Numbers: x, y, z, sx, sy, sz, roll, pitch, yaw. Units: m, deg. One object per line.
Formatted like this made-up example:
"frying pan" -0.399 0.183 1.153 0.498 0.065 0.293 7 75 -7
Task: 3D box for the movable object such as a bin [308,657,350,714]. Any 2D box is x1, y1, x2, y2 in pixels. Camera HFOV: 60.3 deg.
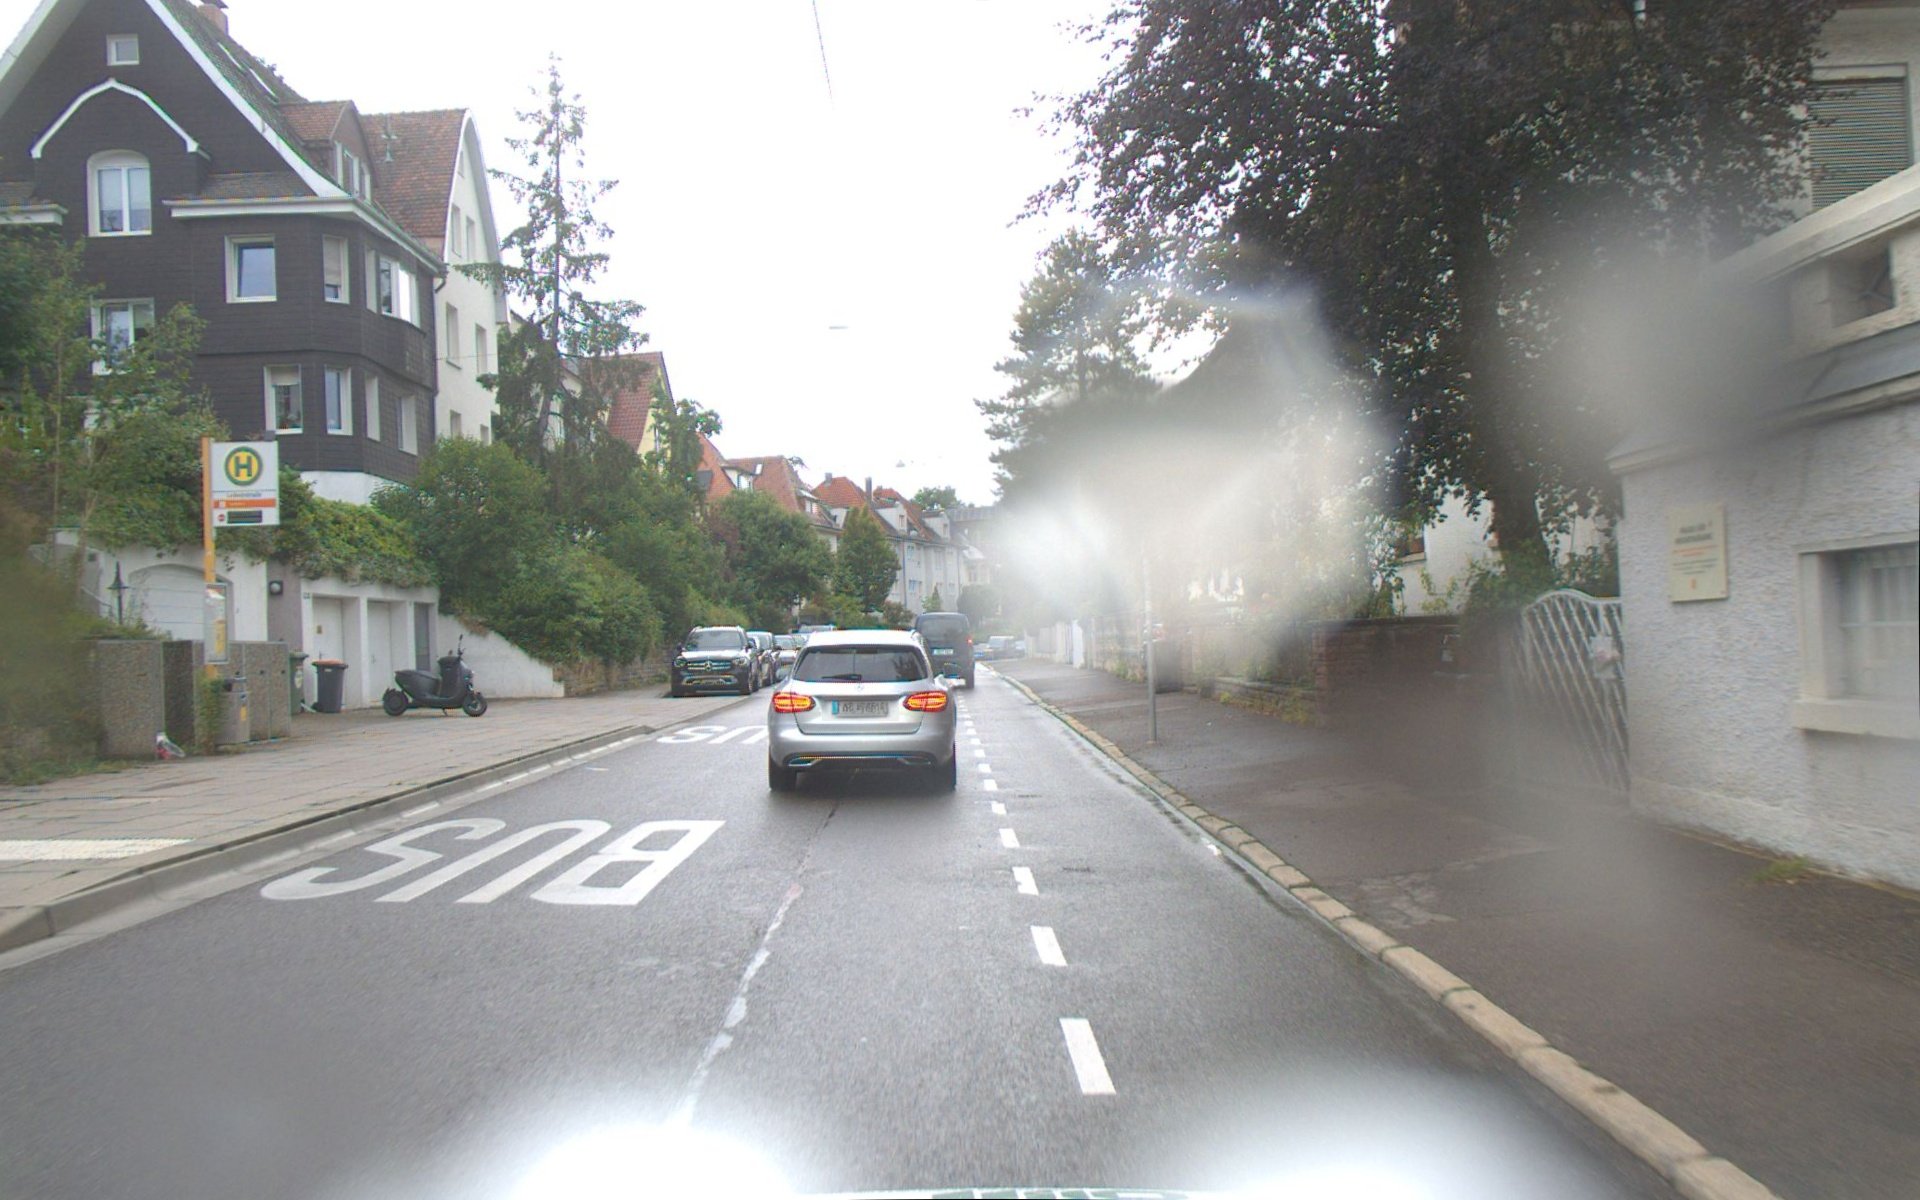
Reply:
"movable object such as a bin" -11.277 1.517 29.551 0.562 0.970 0.512 -1 0 -6

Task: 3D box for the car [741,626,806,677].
"car" -6.162 1.666 54.949 1.720 1.472 4.415 -1 1 -2

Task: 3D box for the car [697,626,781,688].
"car" -6.000 1.530 45.330 1.855 1.472 3.813 -1 1 -2

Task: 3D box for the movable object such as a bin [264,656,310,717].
"movable object such as a bin" -11.261 1.450 27.689 0.562 0.970 0.512 -1 0 -6

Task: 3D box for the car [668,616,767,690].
"car" -5.844 1.261 40.341 1.855 1.651 4.377 -1 -1 -2

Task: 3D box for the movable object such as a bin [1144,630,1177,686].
"movable object such as a bin" 3.601 1.031 29.723 0.484 0.972 0.503 -1 0 -3

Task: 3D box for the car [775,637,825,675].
"car" -6.552 2.272 68.009 1.660 1.472 3.813 -2 -1 0

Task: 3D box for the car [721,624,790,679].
"car" -6.130 1.520 49.865 1.662 1.568 3.812 -1 -1 -2

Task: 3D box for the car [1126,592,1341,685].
"car" 5.380 0.740 32.900 3.906 1.668 1.918 -1 1 -1

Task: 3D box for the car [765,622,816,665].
"car" -6.408 1.620 62.765 1.613 1.472 3.627 -1 1 -2

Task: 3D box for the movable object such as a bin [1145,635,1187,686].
"movable object such as a bin" 3.624 1.061 29.148 0.638 0.870 0.503 -1 0 -3

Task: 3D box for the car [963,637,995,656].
"car" 1.592 3.837 136.896 1.608 1.442 4.616 -1 -1 13

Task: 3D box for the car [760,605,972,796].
"car" -0.908 0.883 16.000 1.780 1.584 3.997 -1 -1 -3

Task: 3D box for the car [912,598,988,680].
"car" -0.289 1.008 41.786 1.805 1.937 3.998 -1 -2 -2

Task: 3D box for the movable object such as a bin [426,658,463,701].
"movable object such as a bin" -11.526 1.770 36.975 0.480 0.904 0.617 -1 1 44

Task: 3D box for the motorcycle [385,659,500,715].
"motorcycle" -8.863 1.484 28.372 1.758 0.919 0.603 1 -1 -2

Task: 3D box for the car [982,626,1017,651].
"car" 3.424 3.322 142.869 1.790 2.092 5.012 -1 -2 16

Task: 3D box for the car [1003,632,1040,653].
"car" 5.550 3.831 149.051 1.952 1.718 4.678 -1 1 20
